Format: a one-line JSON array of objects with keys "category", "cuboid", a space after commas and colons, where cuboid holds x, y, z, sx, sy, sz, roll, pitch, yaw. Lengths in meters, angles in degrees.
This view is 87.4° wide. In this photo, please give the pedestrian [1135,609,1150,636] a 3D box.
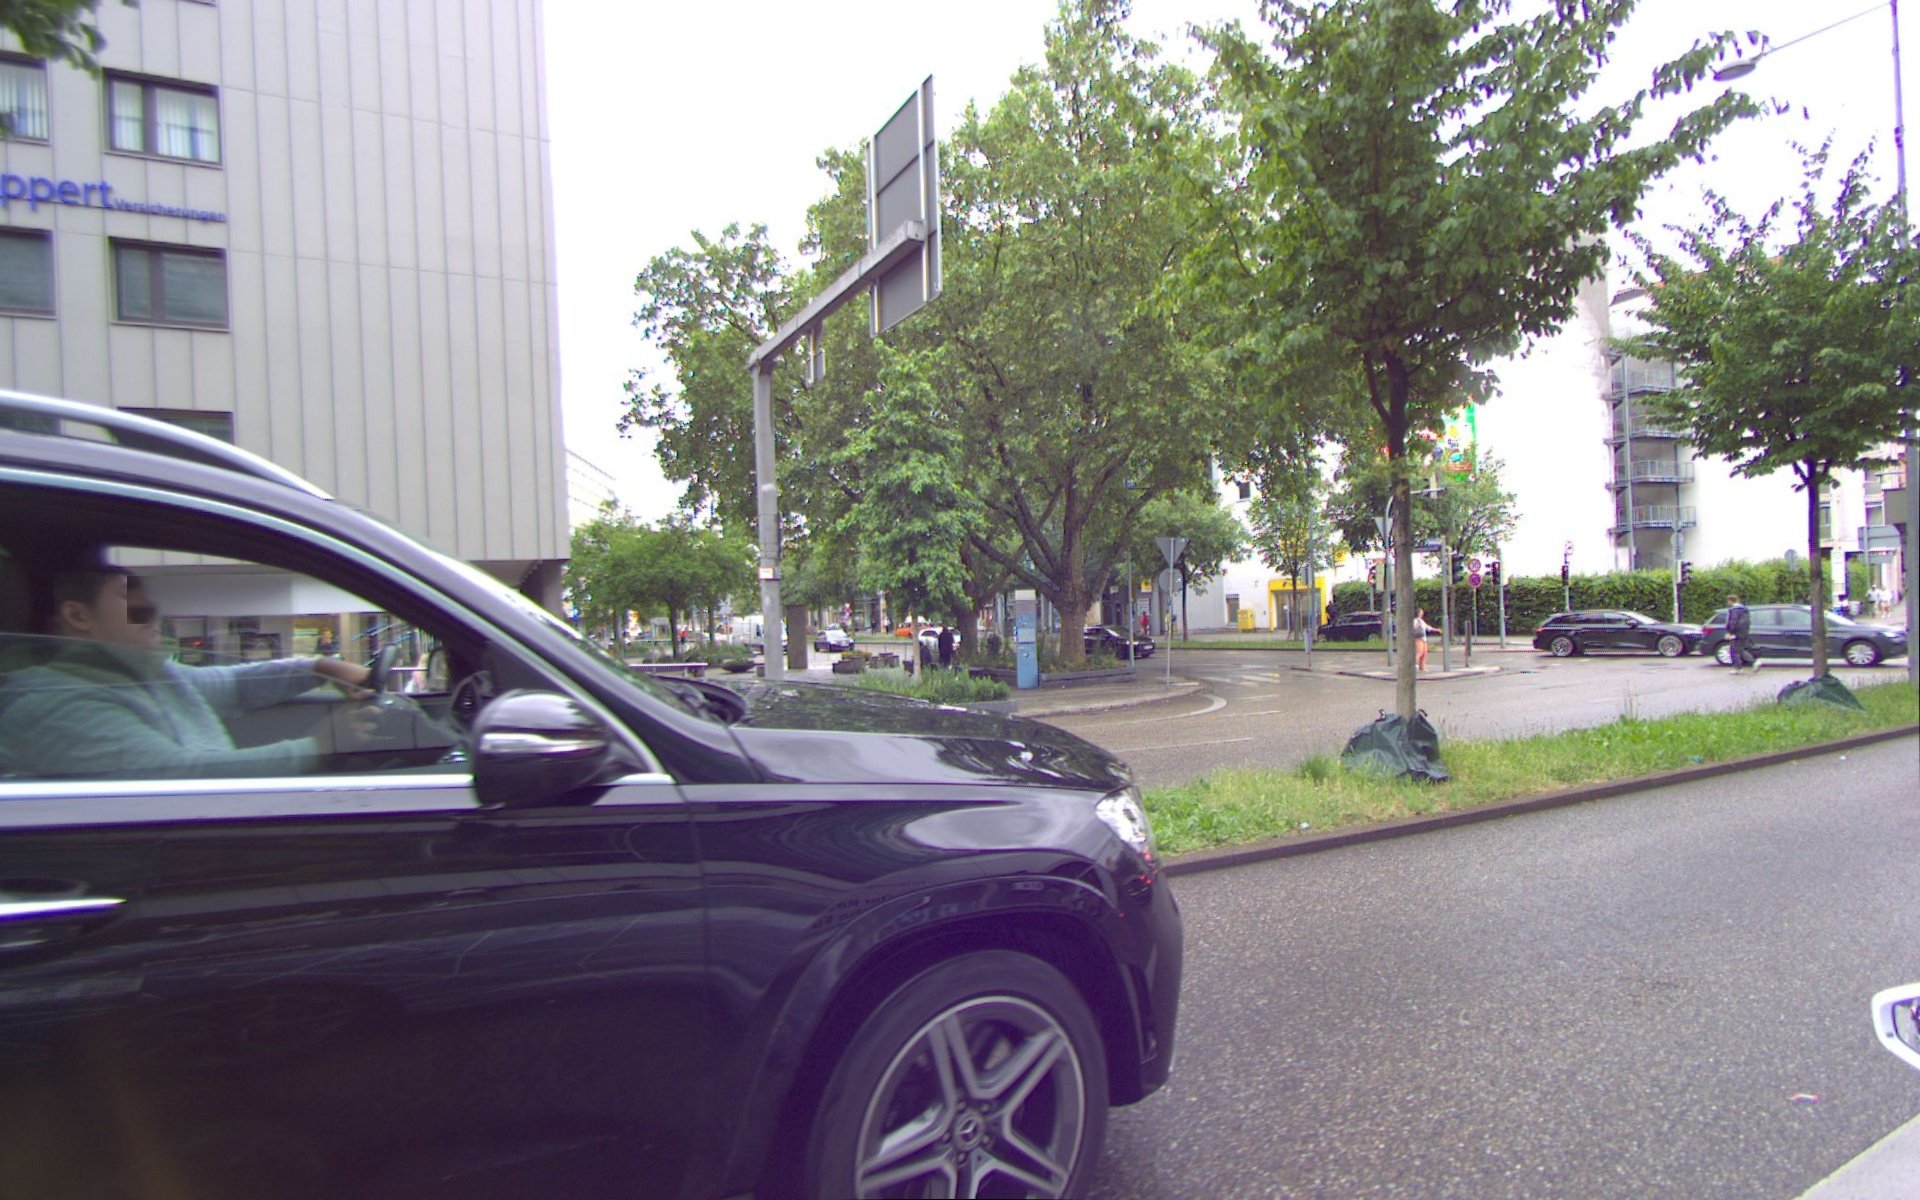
[{"category": "pedestrian", "cuboid": [11.642, 1.441, 64.082, 0.723, 1.664, 0.635, 2, 0, -24]}]

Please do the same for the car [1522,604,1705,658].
[{"category": "car", "cuboid": [20.405, 0.993, 31.516, 1.779, 1.474, 4.452, -2, -2, -42]}]

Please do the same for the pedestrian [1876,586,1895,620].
[{"category": "pedestrian", "cuboid": [48.342, 0.143, 52.479, 0.651, 1.751, 0.591, 2, 0, -38]}]

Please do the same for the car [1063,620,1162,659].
[{"category": "car", "cuboid": [6.577, 1.697, 43.638, 1.691, 1.586, 4.192, 0, -2, -40]}]

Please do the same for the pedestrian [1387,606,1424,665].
[{"category": "pedestrian", "cuboid": [13.164, 1.043, 29.705, 0.620, 1.684, 0.749, -2, 0, -30]}]

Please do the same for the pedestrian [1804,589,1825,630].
[{"category": "pedestrian", "cuboid": [37.600, 0.404, 44.185, 0.559, 1.771, 0.535, 2, 0, -35]}]

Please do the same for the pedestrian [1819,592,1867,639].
[{"category": "pedestrian", "cuboid": [30.264, 0.526, 34.432, 0.677, 1.599, 1.055, 2, 0, -34]}]

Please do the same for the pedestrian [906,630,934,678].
[{"category": "pedestrian", "cuboid": [-1.464, 1.952, 36.670, 0.780, 1.719, 0.721, 1, -2, -26]}]

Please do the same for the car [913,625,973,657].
[{"category": "car", "cuboid": [-0.971, 2.181, 54.619, 1.616, 1.506, 4.278, 0, 1, -26]}]

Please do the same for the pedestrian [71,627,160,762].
[{"category": "pedestrian", "cuboid": [-11.747, 1.298, 13.986, 0.739, 1.807, 0.550, 2, 0, -18]}]

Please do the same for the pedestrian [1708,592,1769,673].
[{"category": "pedestrian", "cuboid": [17.955, 0.739, 23.179, 0.702, 1.807, 0.917, 2, 0, -35]}]

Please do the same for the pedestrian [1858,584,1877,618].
[{"category": "pedestrian", "cuboid": [47.563, 0.048, 52.649, 0.651, 1.751, 0.591, 2, 0, -38]}]

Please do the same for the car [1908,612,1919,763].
[{"category": "car", "cuboid": [11.246, 0.855, 10.025, 3.801, 1.448, 1.767, 0, 0, -33]}]

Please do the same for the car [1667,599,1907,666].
[{"category": "car", "cuboid": [20.881, 0.856, 25.509, 1.779, 1.474, 4.452, -2, -2, -42]}]

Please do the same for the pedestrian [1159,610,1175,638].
[{"category": "pedestrian", "cuboid": [12.688, 1.451, 61.568, 0.630, 1.664, 0.729, 2, 0, -25]}]

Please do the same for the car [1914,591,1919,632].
[{"category": "car", "cuboid": [36.489, 0.405, 36.720, 3.571, 1.506, 1.564, 0, 1, -34]}]

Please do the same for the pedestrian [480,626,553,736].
[{"category": "pedestrian", "cuboid": [-7.208, 1.291, 16.322, 0.954, 1.702, 0.703, 2, 0, -33]}]

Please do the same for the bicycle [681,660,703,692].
[{"category": "bicycle", "cuboid": [-9.068, 2.542, 33.907, 0.512, 0.918, 2.064, 2, -1, -20]}]

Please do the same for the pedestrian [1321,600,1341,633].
[{"category": "pedestrian", "cuboid": [19.396, 0.858, 52.575, 0.633, 1.664, 0.726, 2, 0, -37]}]

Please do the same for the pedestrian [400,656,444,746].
[{"category": "pedestrian", "cuboid": [-10.587, 1.973, 19.798, 0.700, 1.702, 0.745, 2, 0, -28]}]

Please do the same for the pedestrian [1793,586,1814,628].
[{"category": "pedestrian", "cuboid": [36.336, 0.310, 43.265, 0.741, 1.771, 0.535, 2, 0, -39]}]

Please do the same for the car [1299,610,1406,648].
[{"category": "car", "cuboid": [17.285, 1.281, 44.364, 1.779, 1.474, 4.016, -2, -2, -42]}]

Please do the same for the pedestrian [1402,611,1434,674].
[{"category": "pedestrian", "cuboid": [12.505, 1.153, 27.431, 0.572, 1.684, 0.554, -2, 0, -30]}]

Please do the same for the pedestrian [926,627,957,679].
[{"category": "pedestrian", "cuboid": [-0.620, 1.790, 33.844, 0.719, 1.719, 0.782, 2, -2, -35]}]

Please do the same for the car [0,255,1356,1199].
[{"category": "car", "cuboid": [-1.705, 0.525, 1.992, 5.013, 1.895, 1.902, 2, -1, -30]}]
